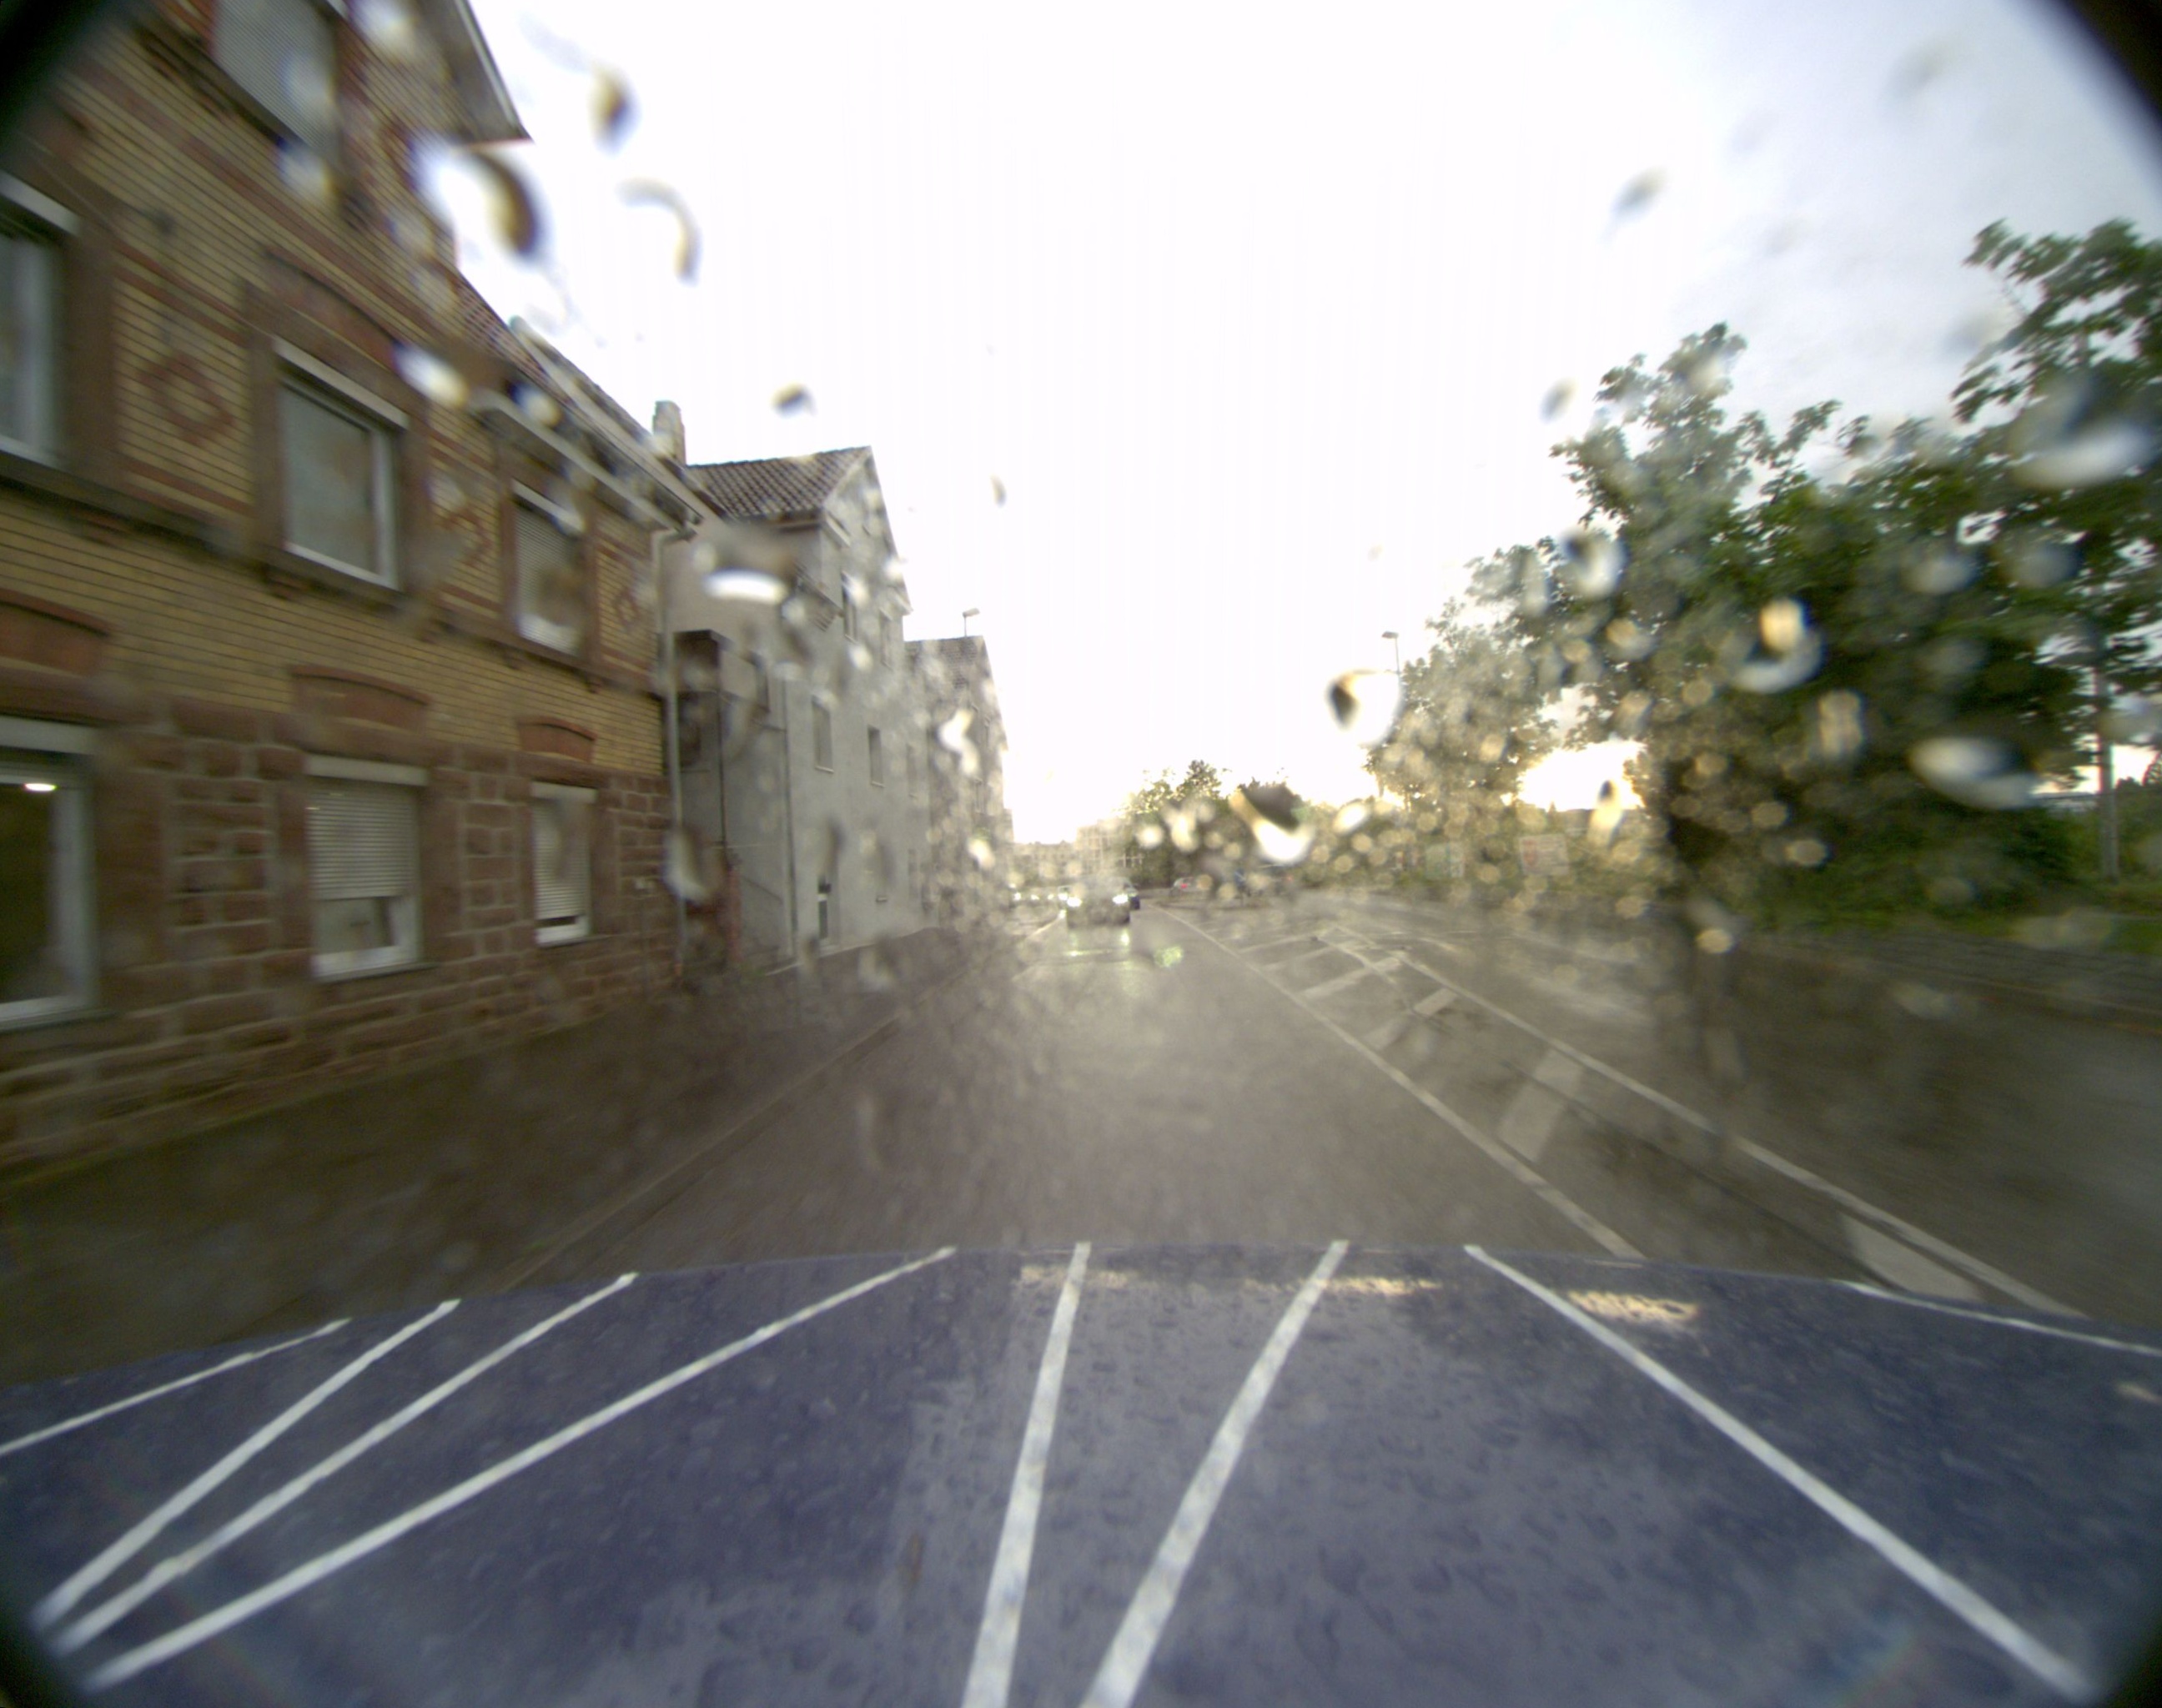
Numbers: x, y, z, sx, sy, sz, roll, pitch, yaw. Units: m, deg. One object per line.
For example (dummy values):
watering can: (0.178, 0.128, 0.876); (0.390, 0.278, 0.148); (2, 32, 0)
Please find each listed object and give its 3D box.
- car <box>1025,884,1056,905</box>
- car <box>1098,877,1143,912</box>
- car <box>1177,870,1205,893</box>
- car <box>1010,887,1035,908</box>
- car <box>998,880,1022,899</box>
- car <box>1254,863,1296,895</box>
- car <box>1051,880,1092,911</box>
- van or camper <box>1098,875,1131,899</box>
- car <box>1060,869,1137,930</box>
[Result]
car: (-3.236, 3.195, 59.296); (1.902, 1.487, 4.944); (-3, -3, -8)
car: (1.824, 1.760, 33.700); (1.789, 1.338, 4.948); (-4, -3, 4)
car: (8.782, 2.177, 61.044); (1.647, 1.542, 4.156); (-6, -1, 3)
car: (-5.526, 4.111, 71.336); (1.902, 1.712, 4.463); (-3, -3, -10)
car: (-7.863, 3.949, 84.109); (2.032, 1.924, 4.943); (-3, -3, -12)
car: (9.963, 1.258, 39.255); (1.643, 1.511, 4.074); (-3, -1, 9)
car: (-0.678, 2.573, 47.925); (1.901, 1.649, 4.942); (-5, 0, -7)
van or camper: (4.013, 4.021, 92.991); (2.375, 2.639, 7.016); (-3, -2, -10)
car: (0.667, 1.305, 23.391); (1.837, 1.505, 4.851); (-5, -1, 6)
